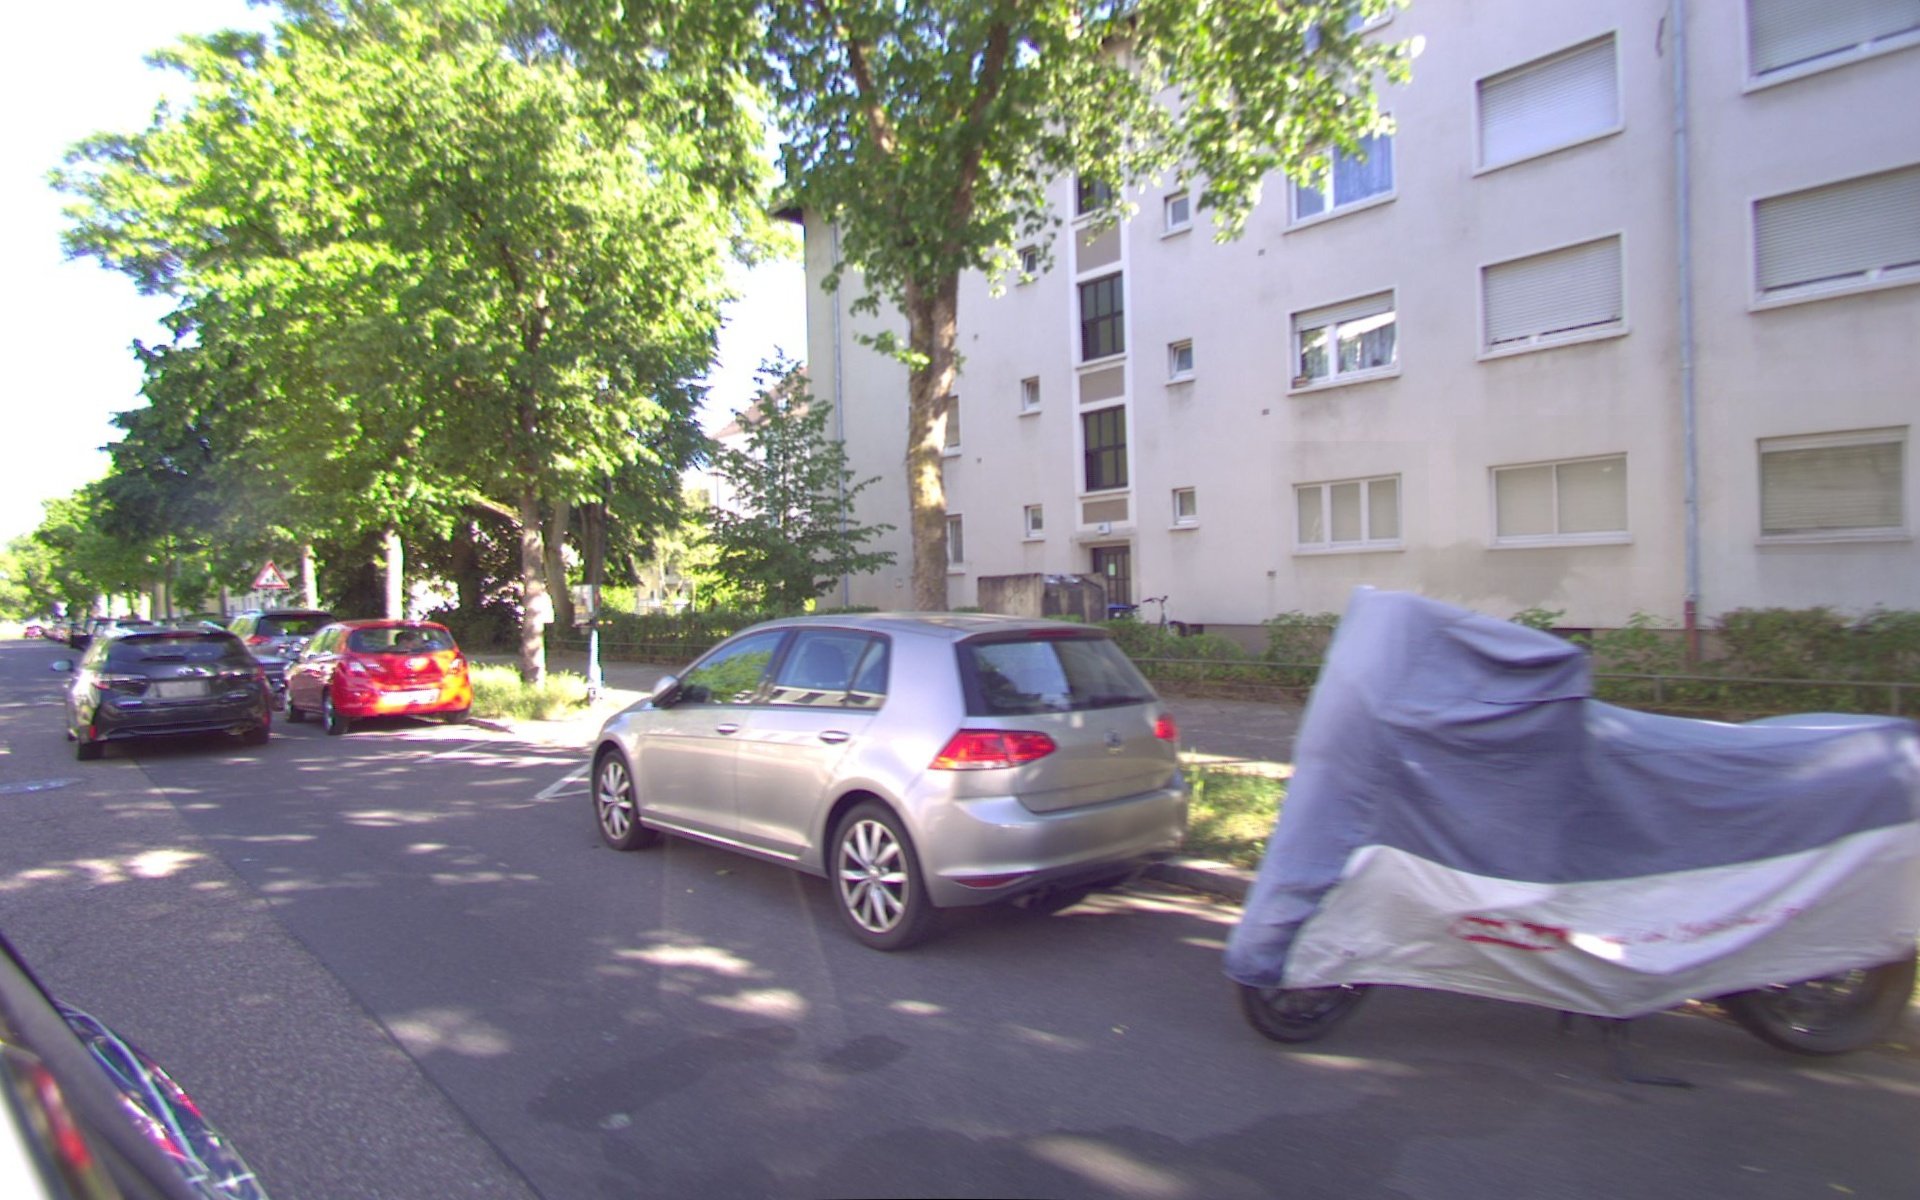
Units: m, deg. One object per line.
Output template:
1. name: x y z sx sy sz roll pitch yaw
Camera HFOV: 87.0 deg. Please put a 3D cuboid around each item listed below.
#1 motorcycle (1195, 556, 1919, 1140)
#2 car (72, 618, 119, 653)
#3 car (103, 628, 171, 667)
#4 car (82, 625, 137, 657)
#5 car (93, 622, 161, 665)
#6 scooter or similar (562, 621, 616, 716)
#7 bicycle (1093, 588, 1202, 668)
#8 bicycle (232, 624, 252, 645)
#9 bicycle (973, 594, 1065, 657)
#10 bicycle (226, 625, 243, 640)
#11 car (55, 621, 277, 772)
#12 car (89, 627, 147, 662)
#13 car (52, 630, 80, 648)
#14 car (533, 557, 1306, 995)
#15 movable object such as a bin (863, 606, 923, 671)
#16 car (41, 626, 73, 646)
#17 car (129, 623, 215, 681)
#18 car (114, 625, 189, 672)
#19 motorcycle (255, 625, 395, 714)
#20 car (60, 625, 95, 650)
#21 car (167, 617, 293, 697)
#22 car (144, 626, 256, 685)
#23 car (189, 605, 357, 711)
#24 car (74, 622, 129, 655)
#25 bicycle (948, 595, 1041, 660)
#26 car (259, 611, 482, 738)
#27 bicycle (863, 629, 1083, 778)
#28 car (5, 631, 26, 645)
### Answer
1. motorcycle: 1.951 0.662 3.196 2.207 1.515 0.987 -1 -1 7
2. car: -49.862 2.029 58.332 1.772 1.863 4.871 -1 -1 -43
3. car: -31.836 1.814 39.107 1.635 1.384 4.191 -1 -1 -45
4. car: -42.488 2.024 50.531 1.773 1.463 4.492 -1 -1 -44
5. car: -35.427 1.803 42.986 1.820 1.669 5.091 -1 -1 -44
6. scooter or similar: -5.288 0.947 14.487 0.547 1.244 1.518 -2 0 -14
7. bicycle: 3.157 0.470 17.175 0.394 1.299 1.915 -1 0 -44
8. bicycle: -41.859 1.994 58.974 0.588 1.198 2.262 -1 -1 -45
9. bicycle: 1.176 0.512 20.562 0.677 1.210 1.914 -2 0 -41
10. bicycle: -45.705 2.037 63.727 0.588 0.923 1.904 -1 -1 -45
11. car: -9.651 1.008 12.168 1.787 1.456 4.371 0 -1 -42
12. car: -39.037 2.053 46.871 1.687 1.492 4.492 -1 -1 -45
13. car: -74.918 3.270 84.835 1.583 1.401 3.815 -2 0 -44
14. car: -0.628 0.644 5.943 2.018 1.535 4.611 -2 0 -42
15. movable object such as a bin: -1.153 0.654 17.476 0.686 1.076 0.761 -2 0 -42
16. car: -86.649 3.434 97.078 3.915 1.821 1.865 -2 0 43
17. car: -23.773 1.511 30.463 1.685 1.589 4.486 -1 -1 -43
18. car: -28.534 1.665 35.679 1.635 1.516 4.071 -1 -1 -45
19. motorcycle: -10.623 1.129 16.958 1.927 1.342 0.789 -1 -1 -36
20. car: -65.414 2.767 74.982 1.837 1.741 4.004 0 -2 -42
21. car: -16.456 1.220 22.726 1.748 1.543 4.424 -2 0 -43
22. car: -20.130 1.413 26.727 1.764 1.362 4.484 -1 -1 -45
23. car: -12.907 1.010 18.874 1.747 1.701 4.817 -1 -1 -44
24. car: -46.413 2.056 54.678 4.527 1.698 1.774 -2 -1 43
25. bicycle: 0.659 0.542 20.093 0.677 1.210 1.914 -2 0 -41
26. car: -8.496 0.962 14.422 1.834 1.480 4.186 -2 0 -43
27. bicycle: 0.039 0.790 8.439 0.524 1.022 2.094 -11 5 -38
28. car: -106.436 4.243 114.109 1.641 1.476 3.451 -1 -1 -42
